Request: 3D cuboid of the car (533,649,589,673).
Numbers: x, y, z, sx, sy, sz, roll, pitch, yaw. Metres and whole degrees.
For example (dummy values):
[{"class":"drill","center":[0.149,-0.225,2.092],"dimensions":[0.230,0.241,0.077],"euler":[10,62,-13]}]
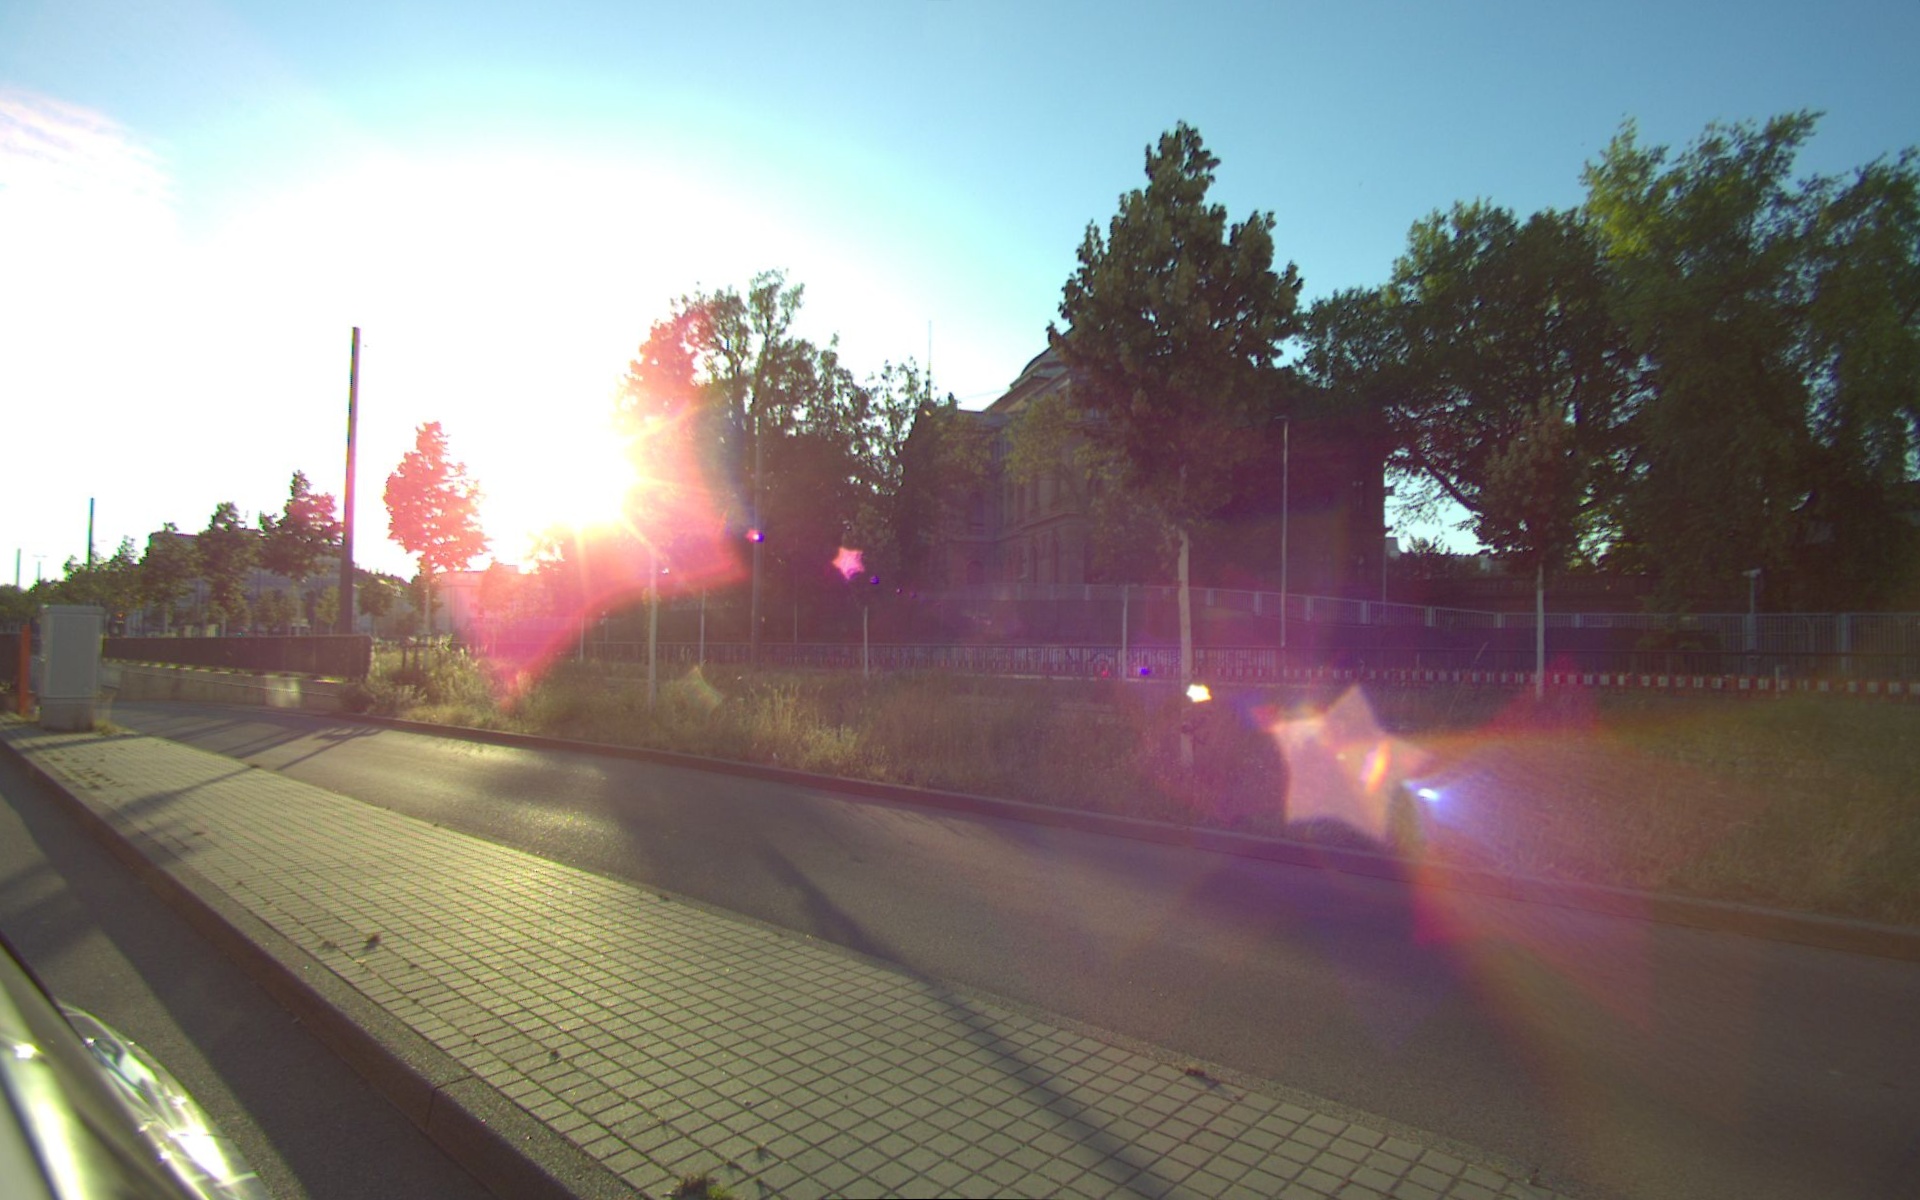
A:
[{"class":"car","center":[-26.602,4.087,67.419],"dimensions":[1.910,1.492,4.525],"euler":[1,-4,-44]}]
